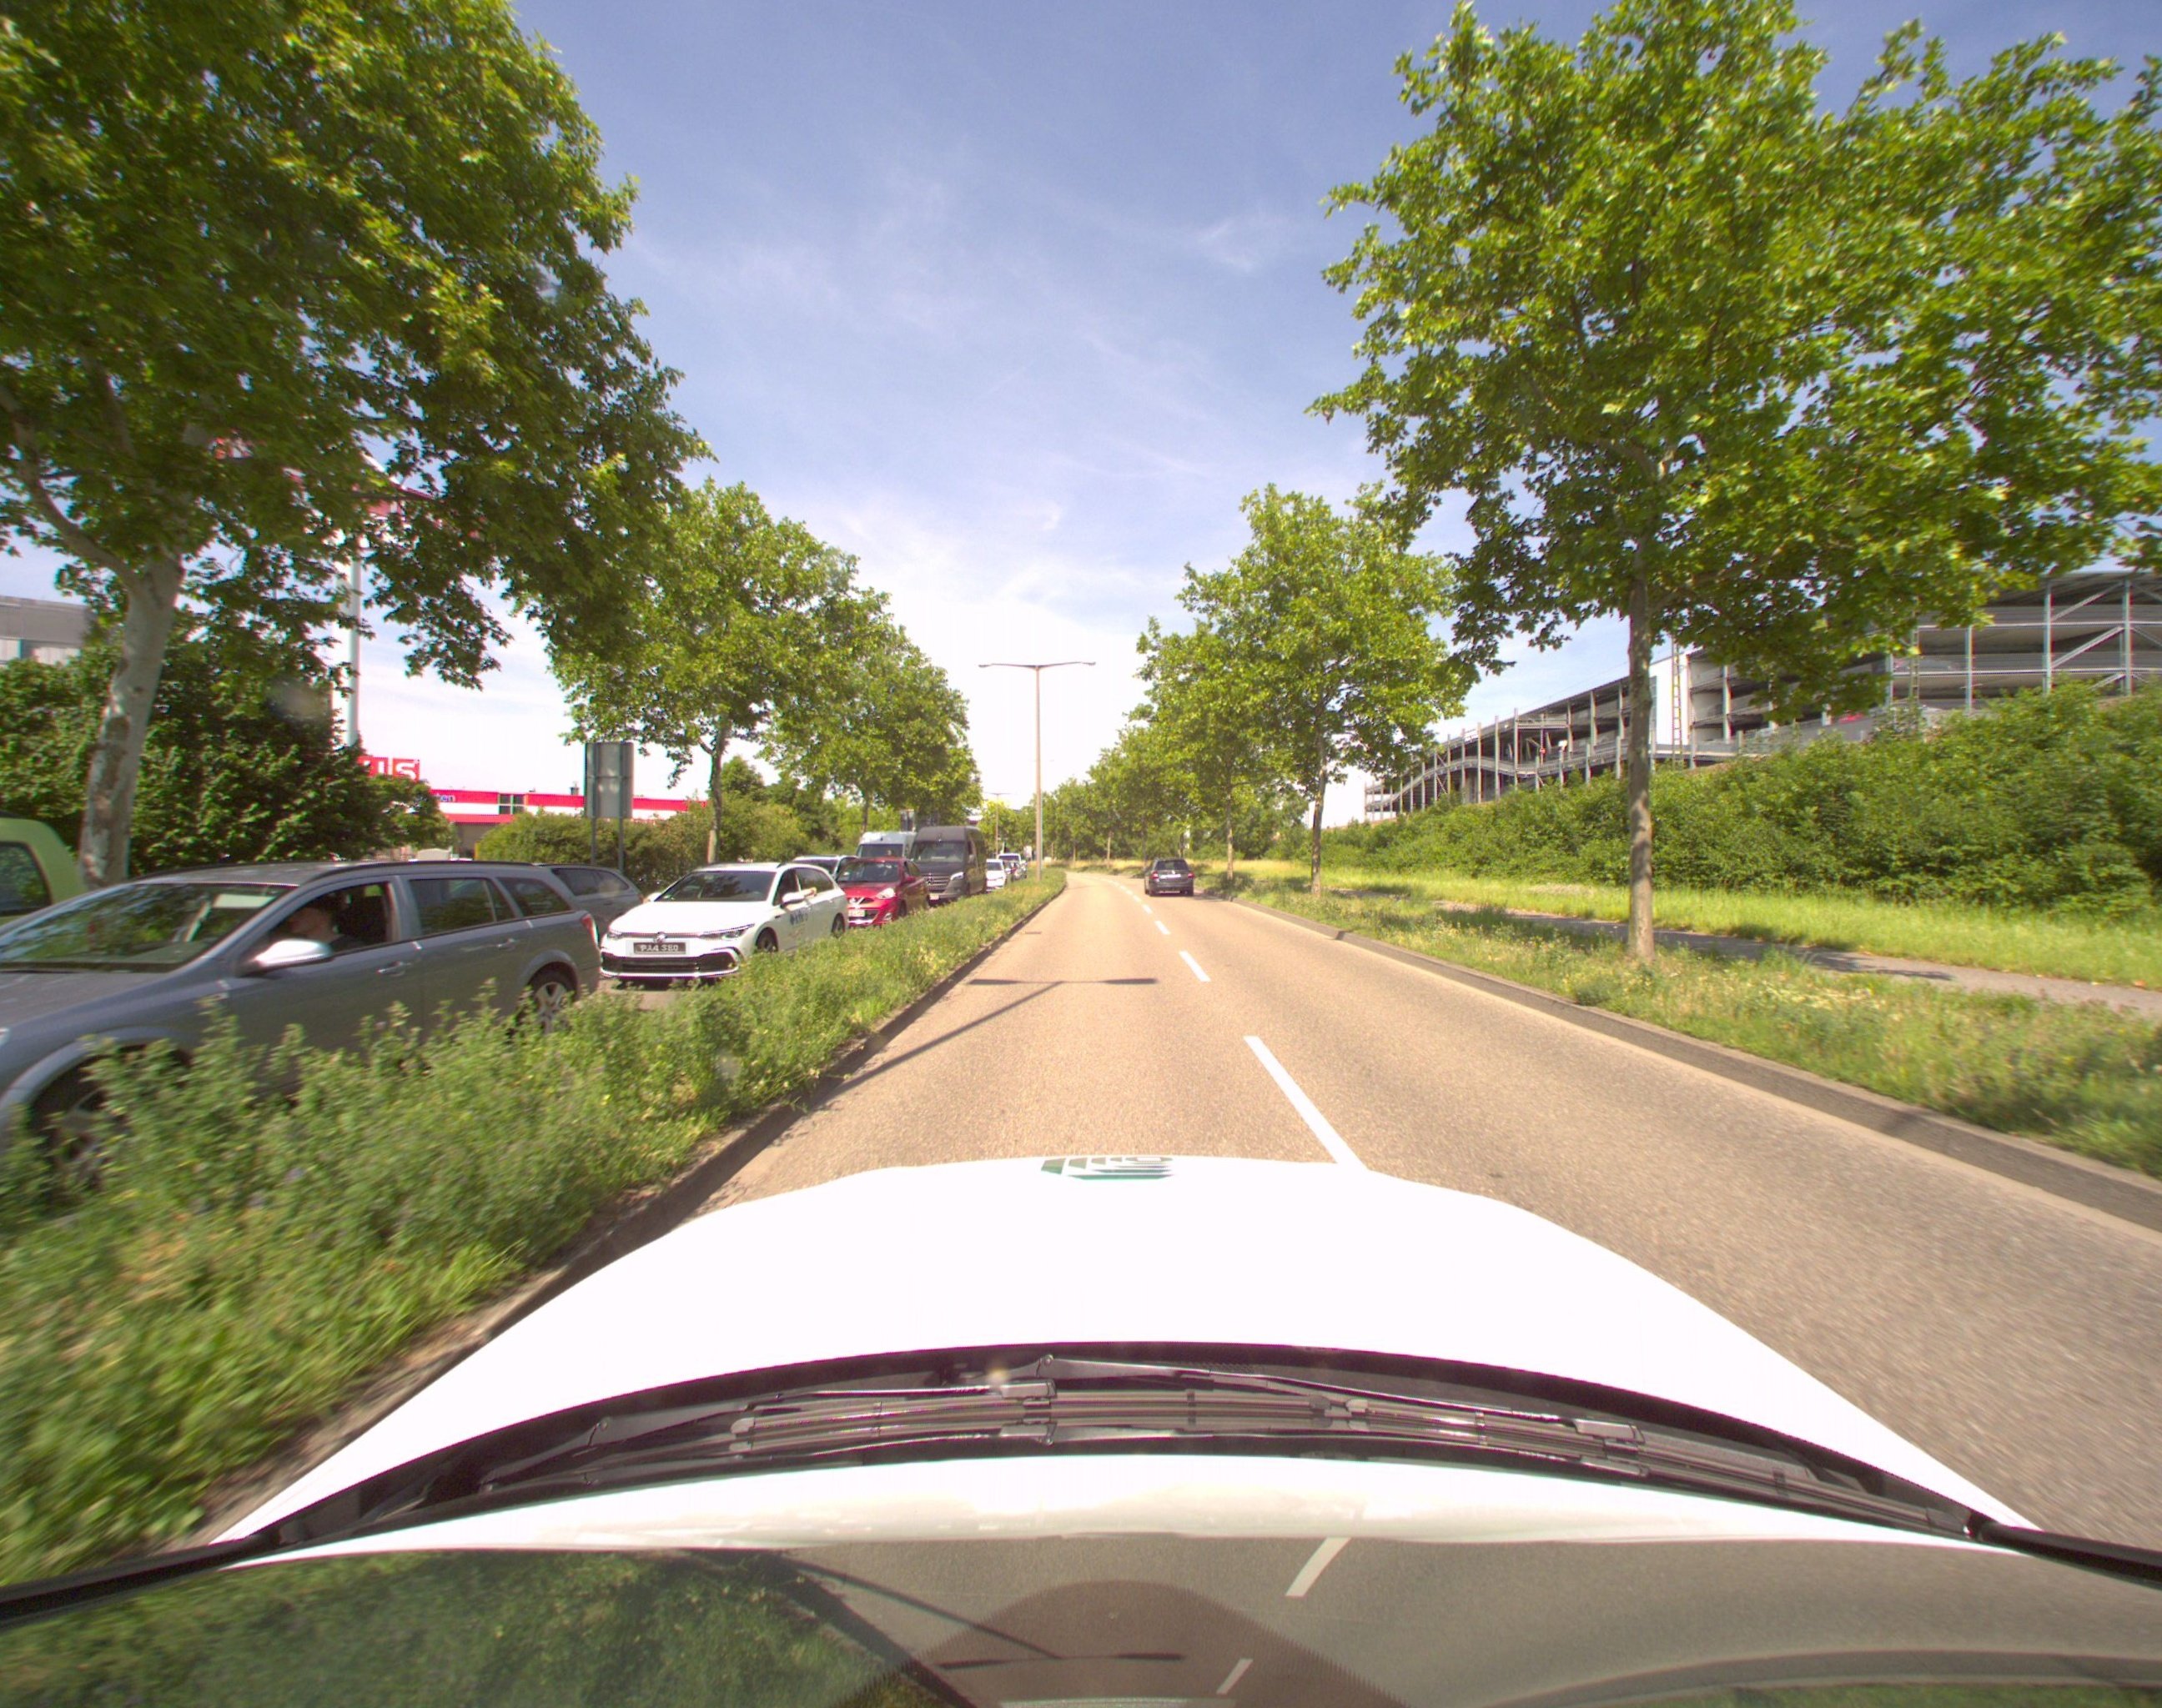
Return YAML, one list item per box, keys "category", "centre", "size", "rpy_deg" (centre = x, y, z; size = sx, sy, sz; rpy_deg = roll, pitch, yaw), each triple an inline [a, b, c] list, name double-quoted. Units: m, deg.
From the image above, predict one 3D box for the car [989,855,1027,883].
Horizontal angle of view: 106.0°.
- category: "car"
  centre: [-4.178, 0.879, 47.007]
  size: [1.682, 1.530, 3.816]
  rpy_deg: [-1, -1, 2]

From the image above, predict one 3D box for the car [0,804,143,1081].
- category: "car"
  centre: [-8.094, 0.593, 4.258]
  size: [1.683, 1.858, 4.035]
  rpy_deg: [-1, -1, 0]

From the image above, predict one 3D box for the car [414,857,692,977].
- category: "car"
  centre: [-7.798, 0.832, 12.529]
  size: [1.682, 1.530, 3.816]
  rpy_deg: [-1, 0, 2]

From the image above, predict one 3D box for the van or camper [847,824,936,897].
- category: "van or camper"
  centre: [-7.317, 0.236, 32.062]
  size: [2.007, 2.587, 5.519]
  rpy_deg: [-1, 0, 2]

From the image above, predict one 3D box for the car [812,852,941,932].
- category: "car"
  centre: [-4.249, 0.728, 17.497]
  size: [1.682, 1.510, 3.816]
  rpy_deg: [-1, 0, 2]

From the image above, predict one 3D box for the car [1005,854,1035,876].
- category: "car"
  centre: [-4.327, 0.746, 58.189]
  size: [1.682, 1.530, 3.816]
  rpy_deg: [-1, 0, 2]

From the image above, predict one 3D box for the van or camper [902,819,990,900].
- category: "van or camper"
  centre: [-4.265, 0.206, 26.667]
  size: [1.932, 2.369, 5.397]
  rpy_deg: [-1, -1, 0]

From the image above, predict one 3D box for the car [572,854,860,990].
- category: "car"
  centre: [-4.582, 0.742, 11.094]
  size: [1.777, 1.459, 4.474]
  rpy_deg: [0, 0, 2]

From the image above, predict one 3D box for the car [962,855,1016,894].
- category: "car"
  centre: [-3.808, 0.830, 34.144]
  size: [1.682, 1.530, 3.816]
  rpy_deg: [-1, -1, 2]

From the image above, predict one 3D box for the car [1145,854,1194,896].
- category: "car"
  centre: [3.397, 0.794, 31.792]
  size: [1.667, 1.453, 4.039]
  rpy_deg: [2, -1, 3]

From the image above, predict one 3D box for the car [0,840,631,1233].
- category: "car"
  centre: [-5.050, 0.720, 5.026]
  size: [1.806, 1.530, 4.644]
  rpy_deg: [-1, 0, 2]

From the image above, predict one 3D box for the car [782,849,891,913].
- category: "car"
  centre: [-7.329, 0.753, 24.872]
  size: [1.986, 1.756, 4.001]
  rpy_deg: [-1, 0, 1]
